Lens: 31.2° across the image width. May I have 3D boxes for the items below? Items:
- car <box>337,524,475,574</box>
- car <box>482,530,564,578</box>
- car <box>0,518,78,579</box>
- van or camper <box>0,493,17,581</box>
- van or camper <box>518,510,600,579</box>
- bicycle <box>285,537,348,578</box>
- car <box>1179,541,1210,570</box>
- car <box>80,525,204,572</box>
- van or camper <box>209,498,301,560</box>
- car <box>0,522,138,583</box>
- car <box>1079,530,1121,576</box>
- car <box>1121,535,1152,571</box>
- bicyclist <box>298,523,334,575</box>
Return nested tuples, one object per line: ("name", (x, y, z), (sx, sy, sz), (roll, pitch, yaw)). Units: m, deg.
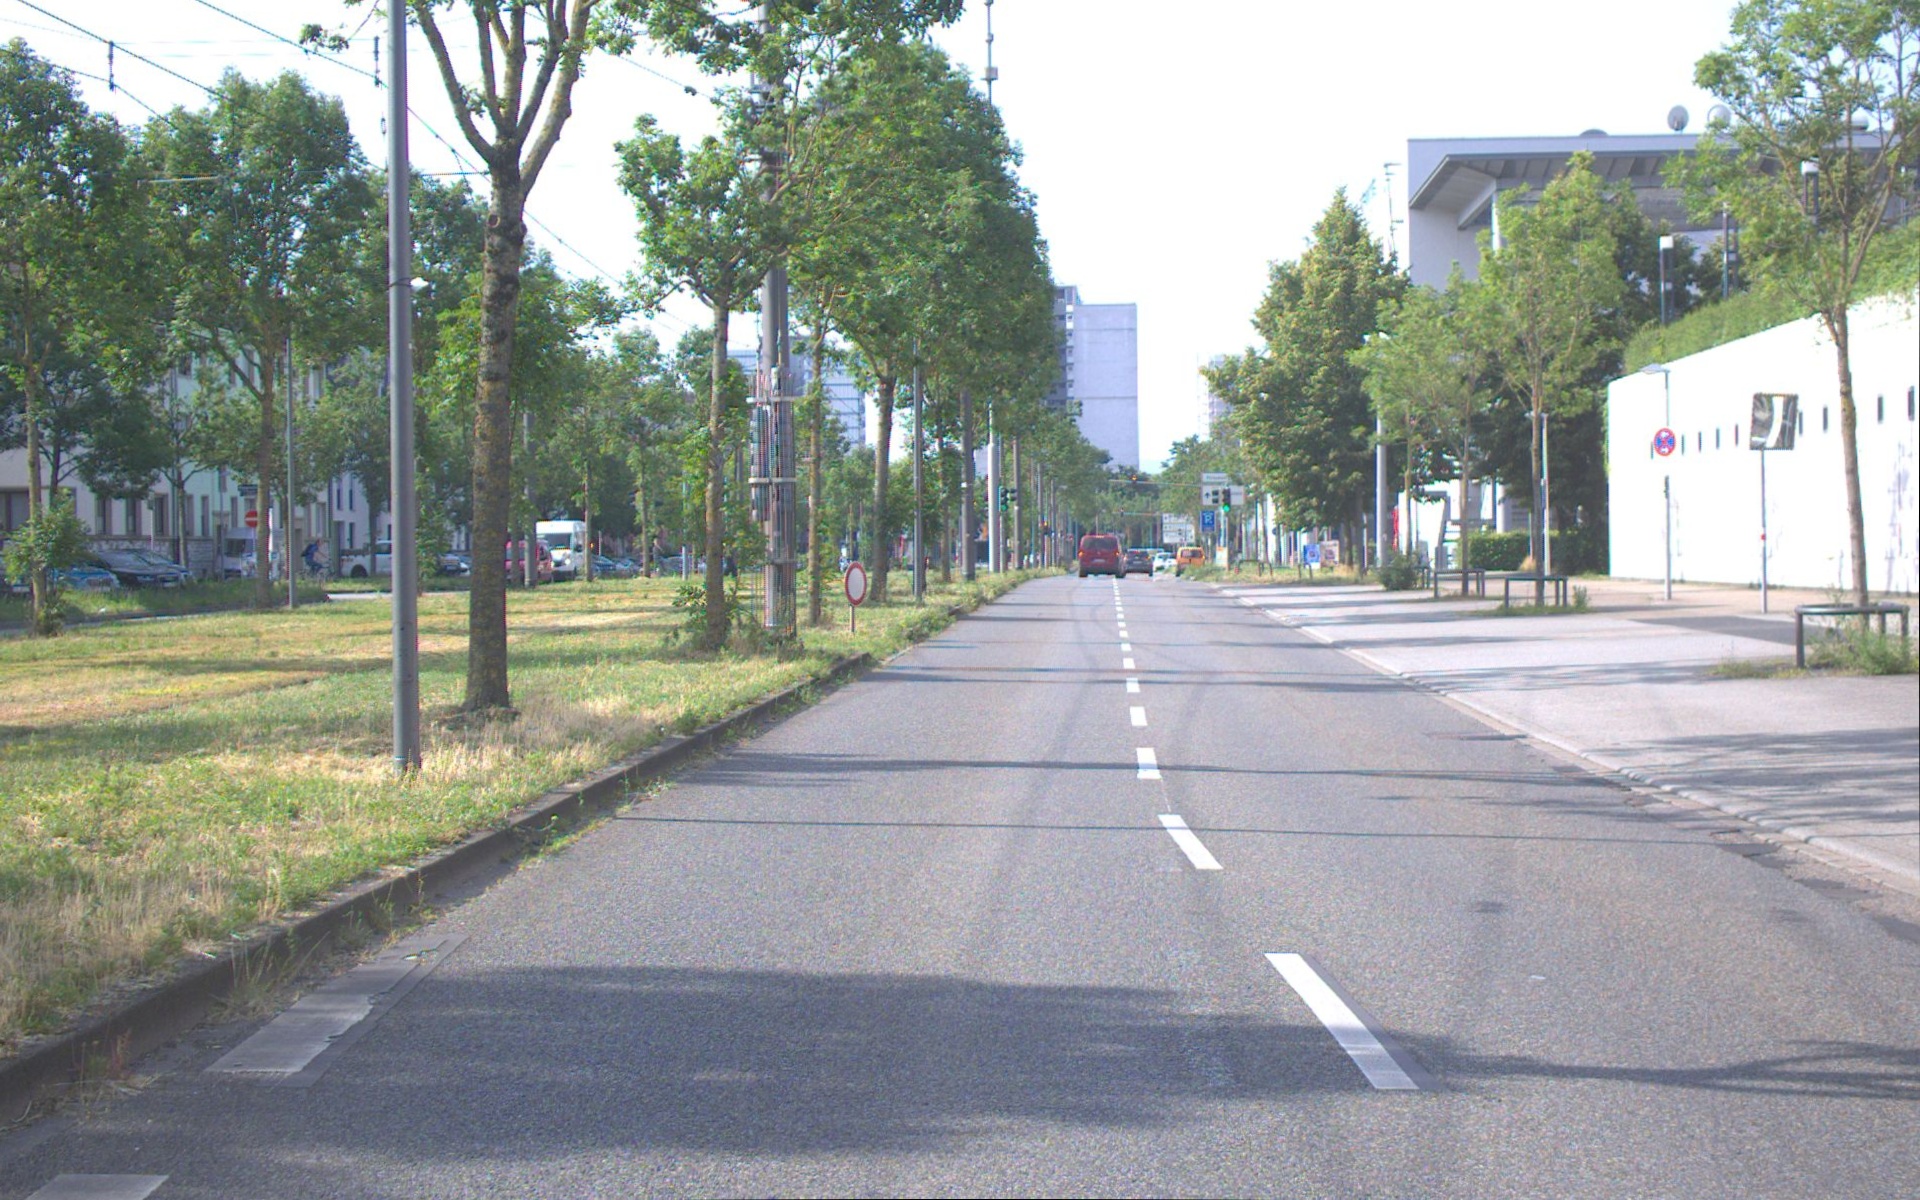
("car", (-21.068, -1.942, 130.688), (5.321, 1.732, 1.996), (2, 1, 37))
("car", (-15.845, -1.672, 124.888), (1.965, 1.688, 4.296), (2, 1, 6))
("car", (-23.119, -1.273, 82.588), (3.996, 1.412, 1.574), (2, 1, 37))
("van or camper", (-29.012, -1.836, 98.382), (2.039, 2.558, 6.357), (2, 1, 2))
("van or camper", (-15.359, -2.130, 131.898), (2.203, 2.522, 6.030), (2, 1, 2))
("bicycle", (-21.907, -1.439, 117.078), (2.066, 1.319, 0.784), (1, 1, -10))
("car", (13.753, -2.639, 201.828), (1.748, 1.645, 3.215), (2, 1, 3))
("car", (-21.891, -1.375, 91.980), (3.161, 1.157, 1.494), (2, 1, 35))
("van or camper", (-27.876, -2.798, 136.066), (1.994, 2.320, 5.827), (2, 1, 4))
("car", (-22.416, -1.180, 85.092), (3.994, 1.412, 1.574), (2, 1, 29))
("car", (6.267, -2.110, 153.798), (1.748, 2.007, 3.215), (2, 1, 3))
("car", (10.341, -2.741, 201.113), (1.748, 2.007, 3.215), (2, 1, 3))
("bicyclist", (-21.931, -1.735, 117.067), (1.146, 1.755, 0.686), (2, 1, -9))
